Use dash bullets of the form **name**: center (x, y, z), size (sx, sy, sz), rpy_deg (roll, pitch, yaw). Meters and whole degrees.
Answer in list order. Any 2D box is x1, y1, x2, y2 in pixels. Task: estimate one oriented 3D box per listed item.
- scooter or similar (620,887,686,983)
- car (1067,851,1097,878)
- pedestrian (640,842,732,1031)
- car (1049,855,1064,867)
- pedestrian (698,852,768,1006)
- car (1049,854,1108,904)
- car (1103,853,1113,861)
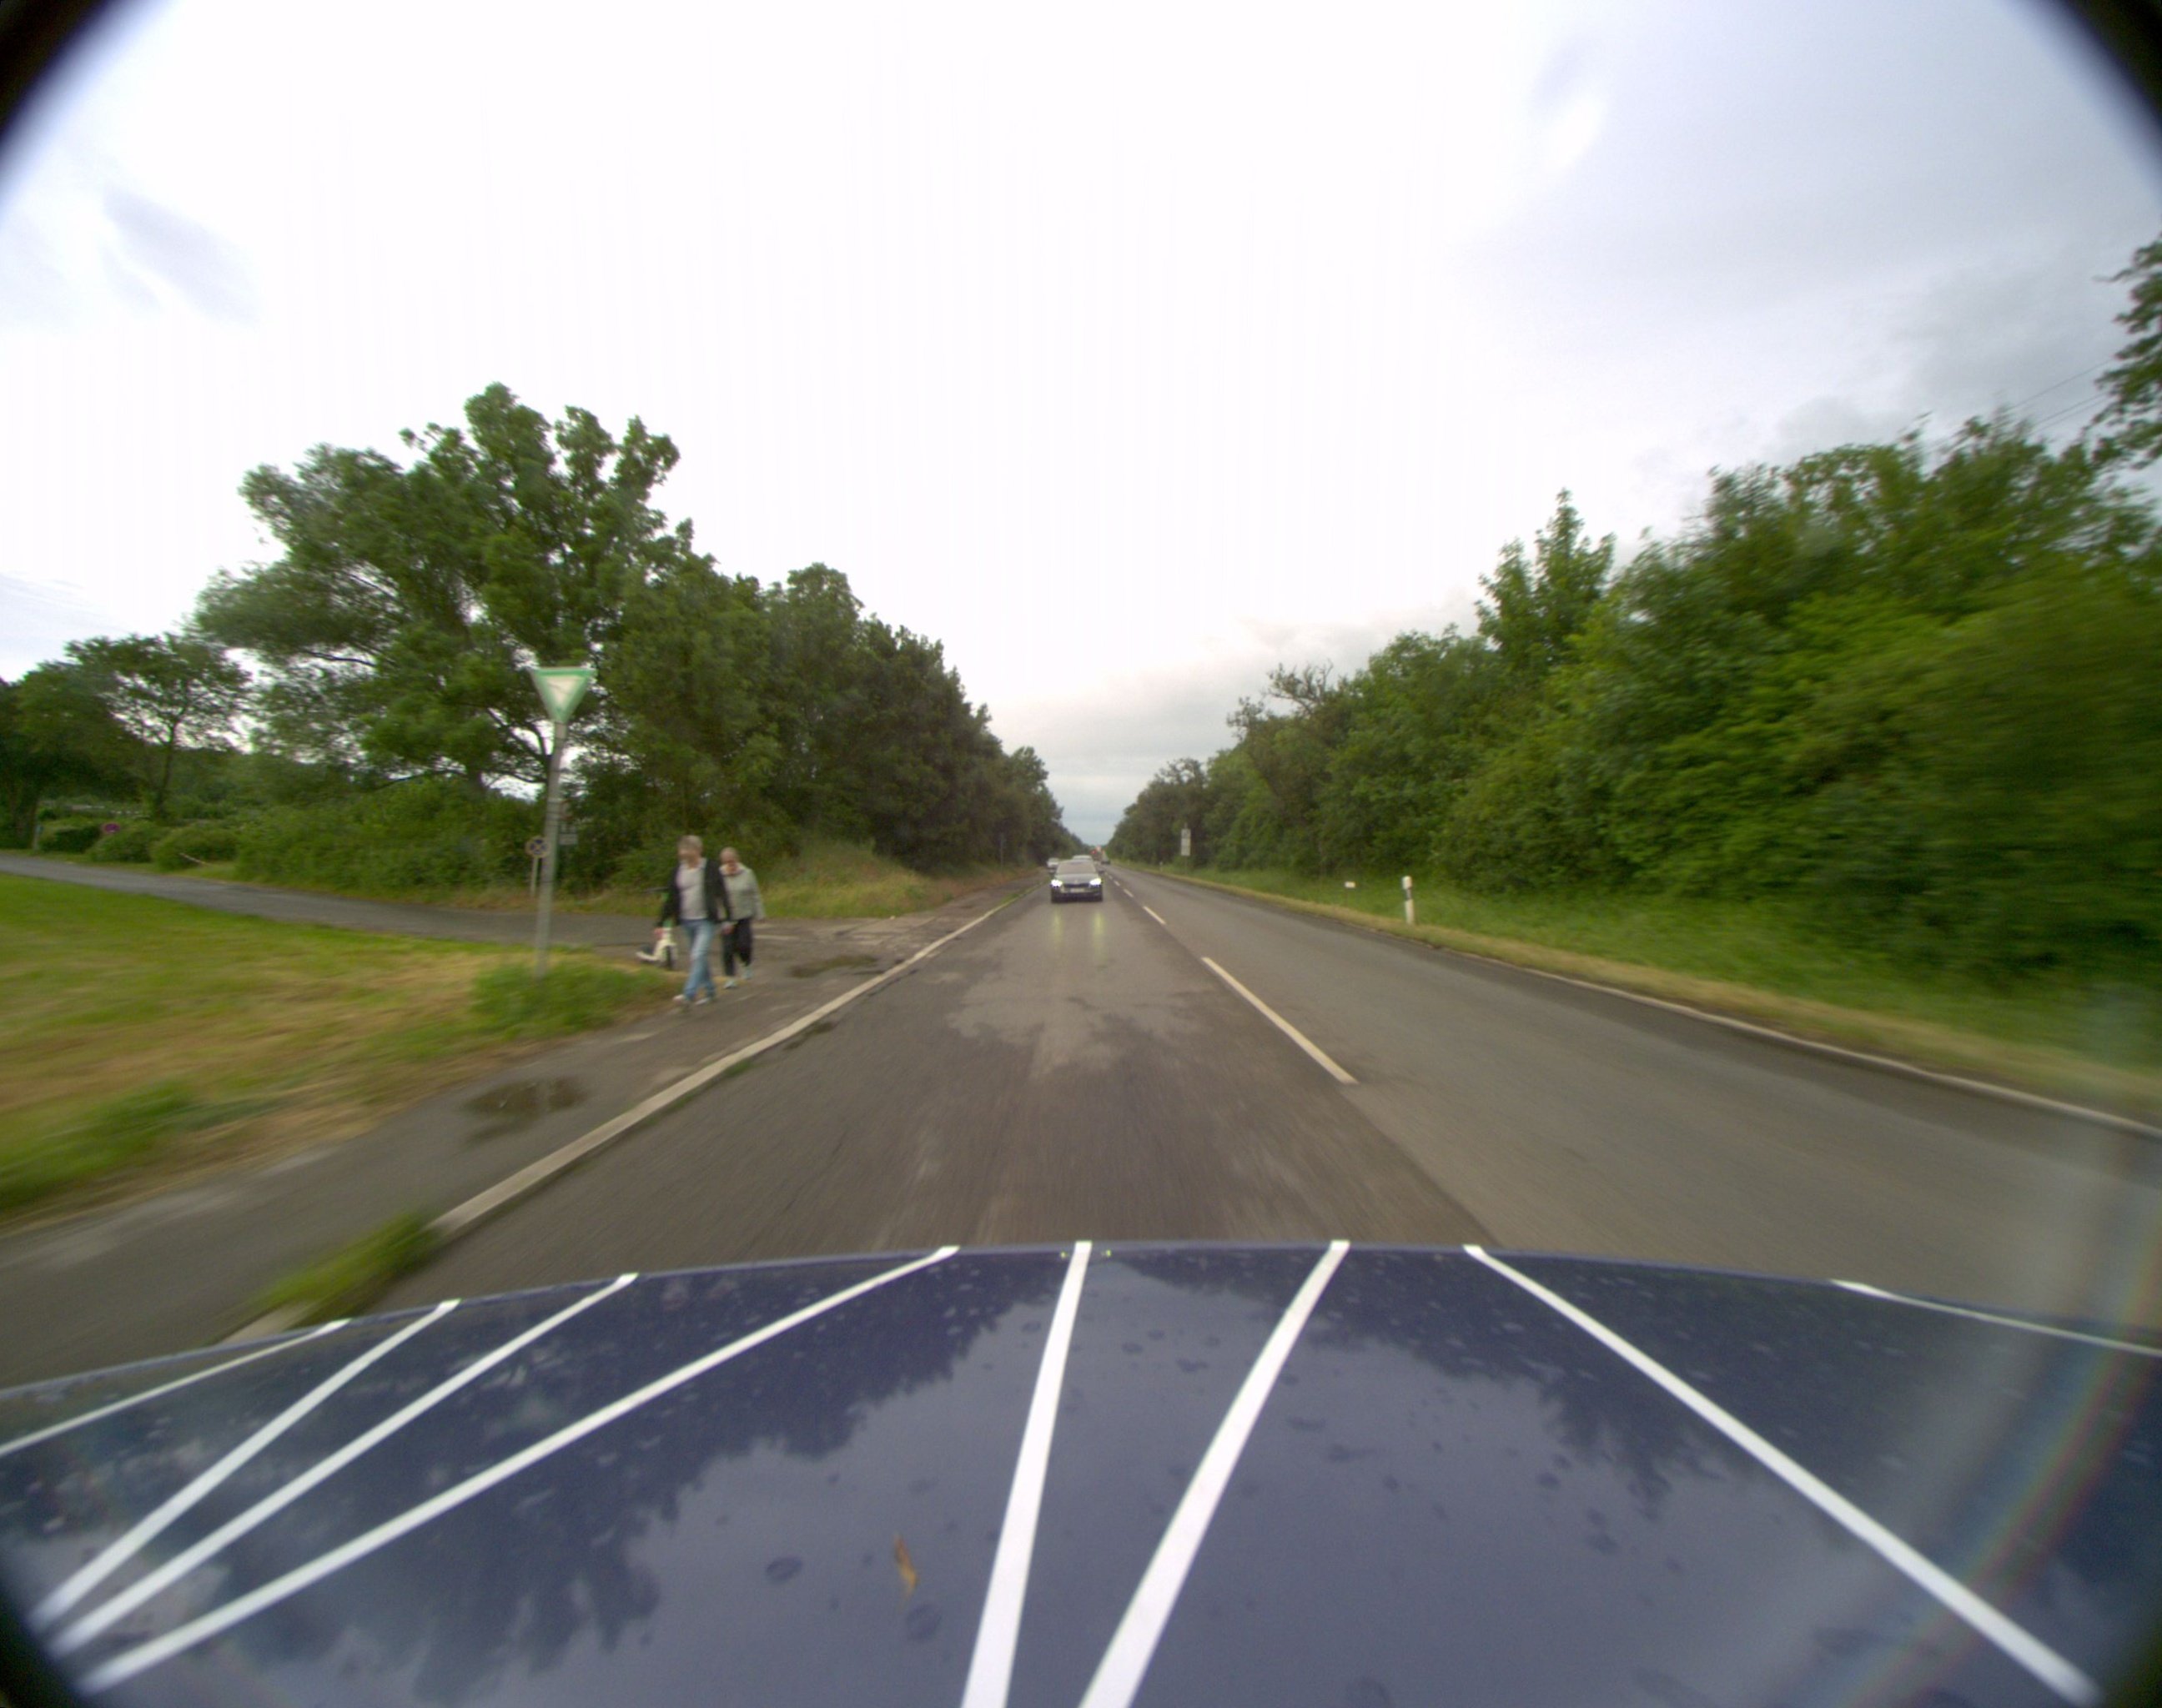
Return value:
- **scooter or similar**: center (-5.997, 1.098, 10.621), size (1.323, 1.199, 0.375), rpy_deg (1, 1, 41)
- **car**: center (0.087, 0.669, 52.335), size (1.915, 1.690, 3.913), rpy_deg (-2, 1, 0)
- **pedestrian**: center (-4.010, 0.792, 7.773), size (0.696, 1.817, 0.800), rpy_deg (0, 1, -16)
- **car**: center (-3.207, 0.893, 99.819), size (1.748, 1.460, 4.220), rpy_deg (1, 1, 2)
- **pedestrian**: center (-4.194, 0.866, 9.208), size (0.663, 1.768, 0.759), rpy_deg (0, 1, -16)
- **car**: center (-0.061, 0.838, 27.341), size (1.915, 1.543, 4.354), rpy_deg (-2, 1, 0)
- **car**: center (5.659, 0.572, 157.655), size (1.876, 1.480, 4.573), rpy_deg (3, 1, 0)
